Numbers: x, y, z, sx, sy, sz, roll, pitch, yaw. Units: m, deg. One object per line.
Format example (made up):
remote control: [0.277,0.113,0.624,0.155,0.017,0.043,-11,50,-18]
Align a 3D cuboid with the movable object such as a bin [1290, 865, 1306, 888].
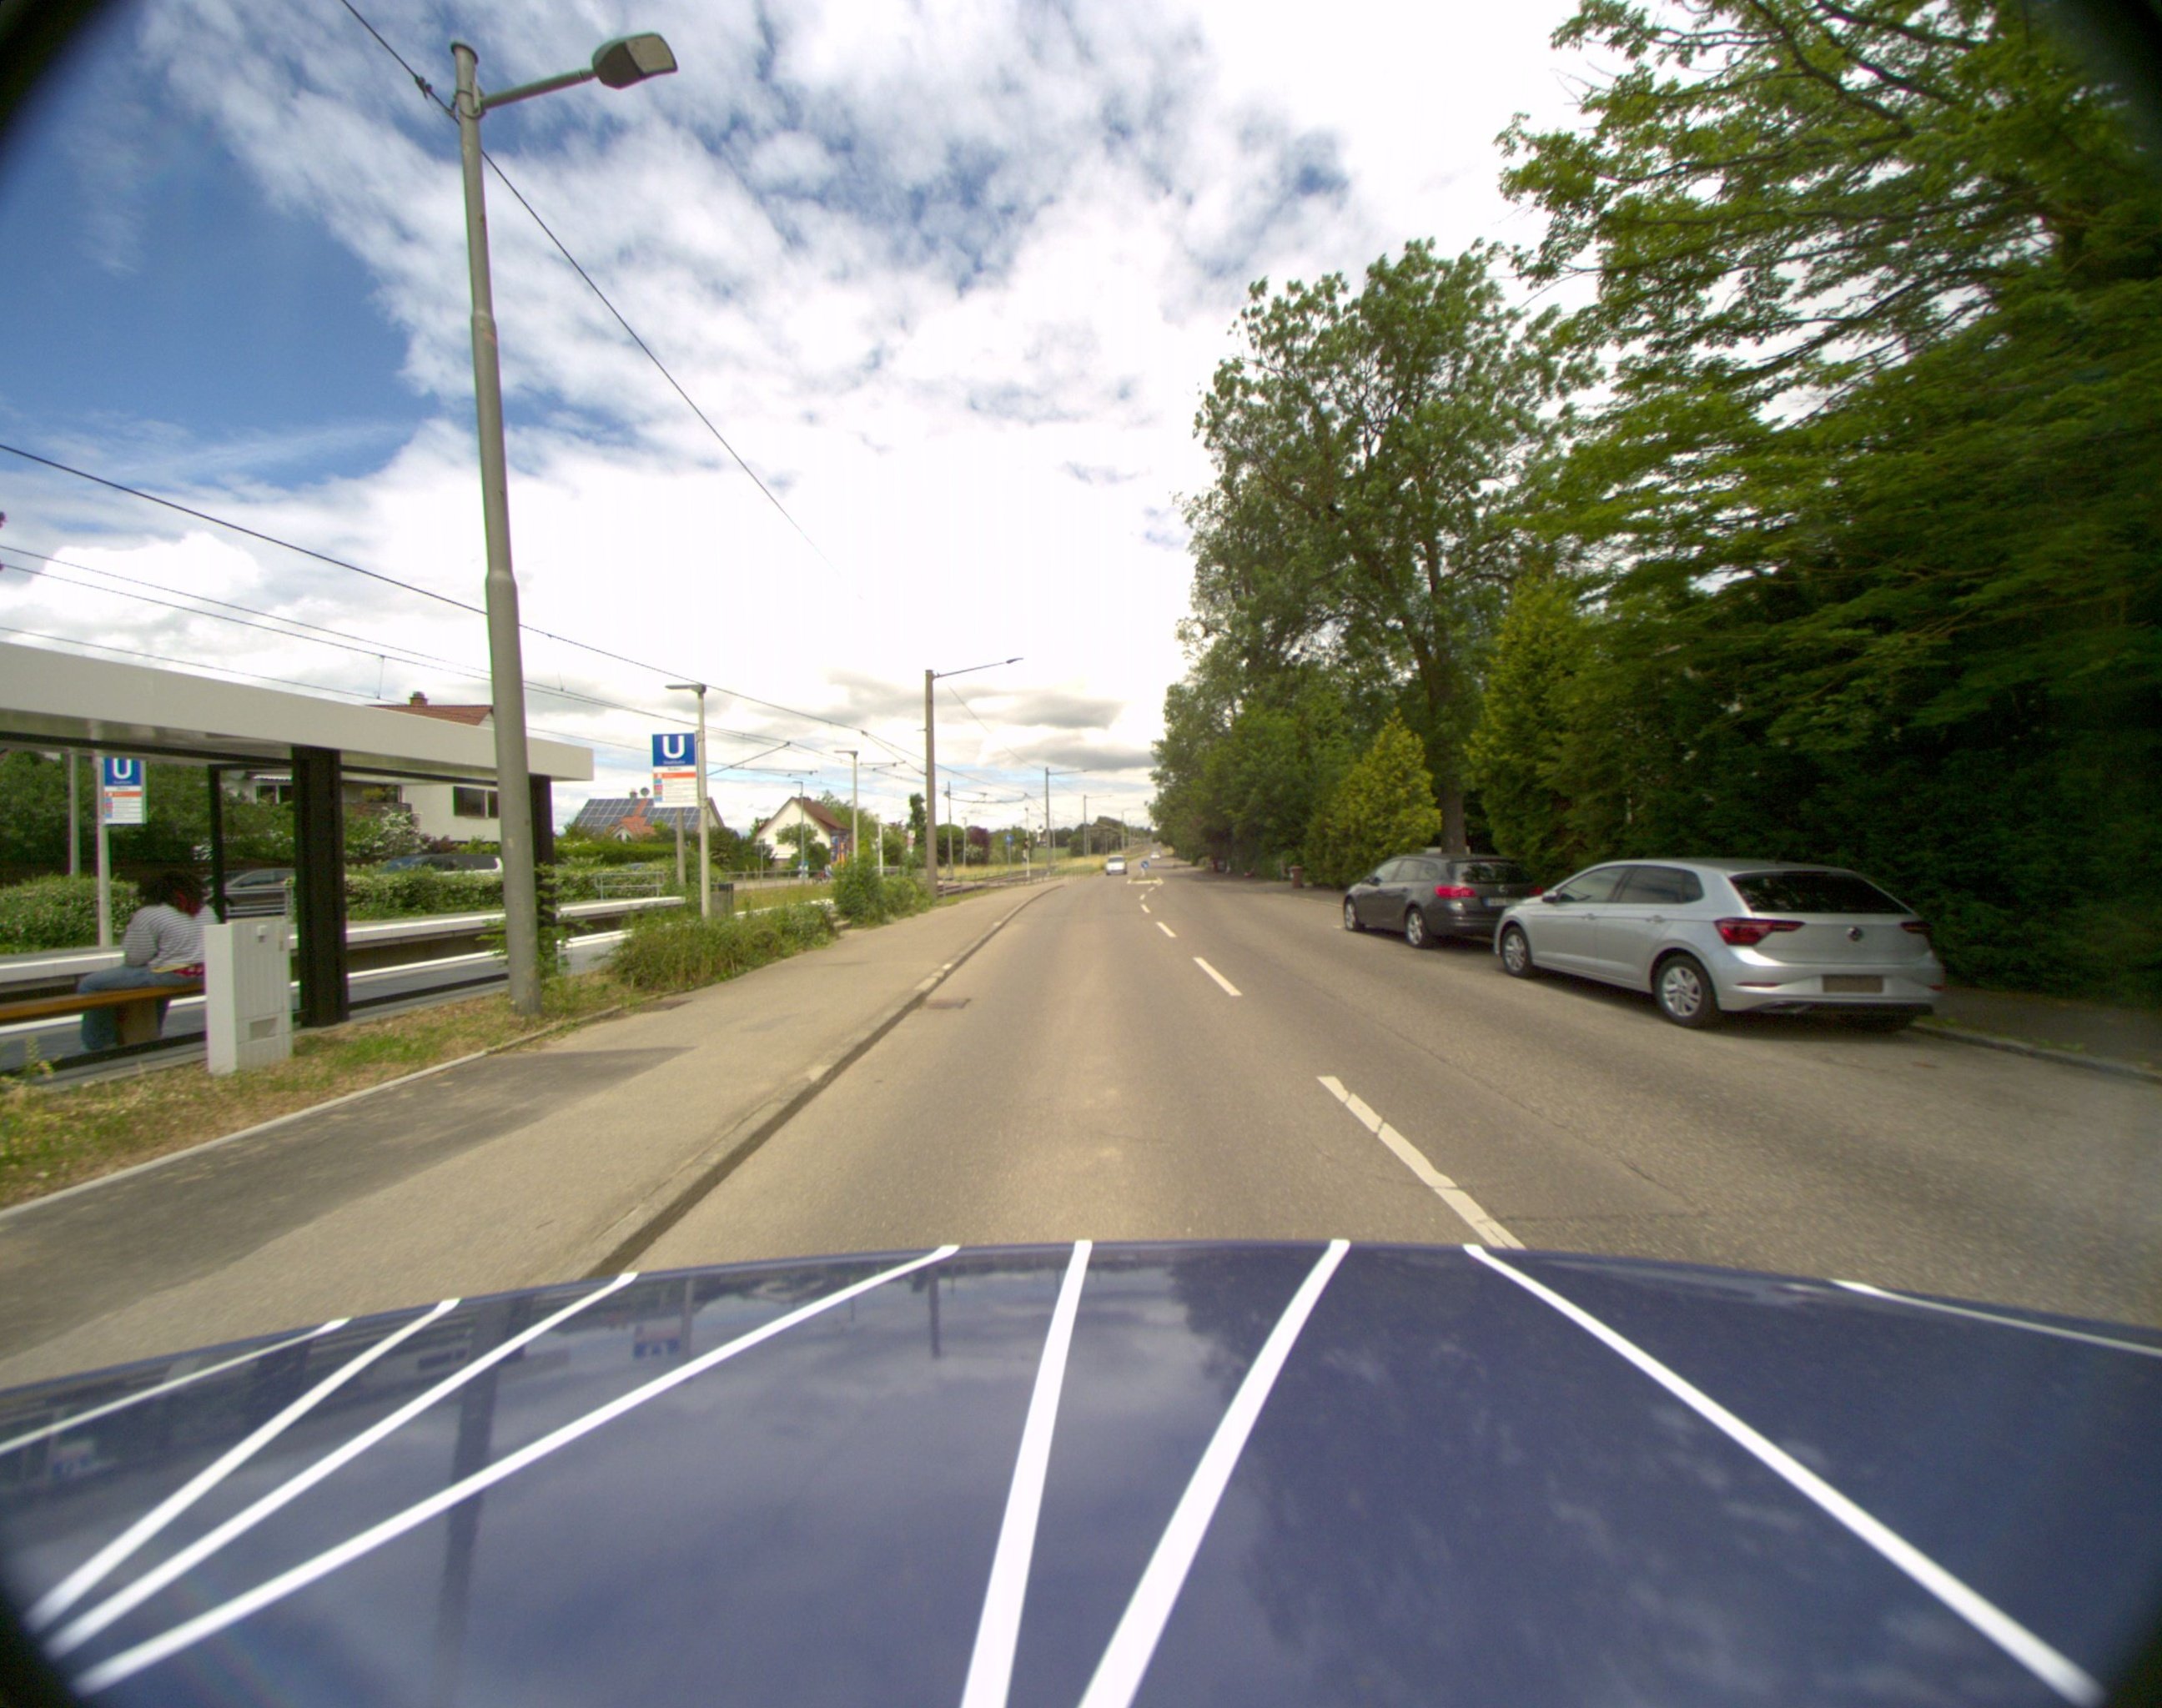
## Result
movable object such as a bin: [9.244,0.941,32.377,0.464,0.925,0.429,-5,2,-11]

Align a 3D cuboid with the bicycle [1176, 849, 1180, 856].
bicycle: [18.432,-0.243,143.975,0.756,1.219,2.309,0,1,6]

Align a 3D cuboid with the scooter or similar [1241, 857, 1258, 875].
scooter or similar: [10.275,0.725,46.281,0.479,1.074,1.212,-3,1,-13]

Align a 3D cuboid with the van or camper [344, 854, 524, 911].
van or camper: [-23.722,0.975,28.182,1.909,1.815,5.049,-1,1,7]

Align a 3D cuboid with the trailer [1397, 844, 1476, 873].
trailer: [19.016,0.240,40.725,3.519,1.434,1.732,-2,1,-14]

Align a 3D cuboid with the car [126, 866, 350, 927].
car: [-24.494,1.171,22.330,1.887,1.513,4.002,-1,1,7]

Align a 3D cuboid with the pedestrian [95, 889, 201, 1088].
pedestrian: [-6.785,0.944,5.545,0.397,1.336,0.486,-3,4,-45]

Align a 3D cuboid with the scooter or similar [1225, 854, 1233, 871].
scooter or similar: [10.615,0.597,54.529,0.409,1.192,1.640,-1,1,7]

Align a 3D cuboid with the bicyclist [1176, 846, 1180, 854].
bicyclist: [18.447,-0.694,144.088,0.780,1.540,0.870,-1,1,6]

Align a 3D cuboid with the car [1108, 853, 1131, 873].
car: [3.276,0.731,63.617,1.642,1.510,3.870,-3,1,6]

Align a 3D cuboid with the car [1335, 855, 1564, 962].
car: [5.982,0.785,13.033,1.741,1.496,4.477,0,0,0]

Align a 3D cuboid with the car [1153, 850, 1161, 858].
car: [15.614,0.000,155.893,1.697,1.422,3.788,-2,0,7]

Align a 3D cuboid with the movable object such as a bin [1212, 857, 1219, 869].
movable object such as a bin: [10.635,0.714,60.044,0.514,0.939,0.569,-3,1,5]

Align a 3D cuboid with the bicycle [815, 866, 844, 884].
bicycle: [-16.051,1.354,48.562,0.539,1.039,2.542,13,-2,7]

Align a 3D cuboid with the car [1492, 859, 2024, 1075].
car: [5.921,0.823,7.435,1.741,1.496,3.963,0,0,2]
